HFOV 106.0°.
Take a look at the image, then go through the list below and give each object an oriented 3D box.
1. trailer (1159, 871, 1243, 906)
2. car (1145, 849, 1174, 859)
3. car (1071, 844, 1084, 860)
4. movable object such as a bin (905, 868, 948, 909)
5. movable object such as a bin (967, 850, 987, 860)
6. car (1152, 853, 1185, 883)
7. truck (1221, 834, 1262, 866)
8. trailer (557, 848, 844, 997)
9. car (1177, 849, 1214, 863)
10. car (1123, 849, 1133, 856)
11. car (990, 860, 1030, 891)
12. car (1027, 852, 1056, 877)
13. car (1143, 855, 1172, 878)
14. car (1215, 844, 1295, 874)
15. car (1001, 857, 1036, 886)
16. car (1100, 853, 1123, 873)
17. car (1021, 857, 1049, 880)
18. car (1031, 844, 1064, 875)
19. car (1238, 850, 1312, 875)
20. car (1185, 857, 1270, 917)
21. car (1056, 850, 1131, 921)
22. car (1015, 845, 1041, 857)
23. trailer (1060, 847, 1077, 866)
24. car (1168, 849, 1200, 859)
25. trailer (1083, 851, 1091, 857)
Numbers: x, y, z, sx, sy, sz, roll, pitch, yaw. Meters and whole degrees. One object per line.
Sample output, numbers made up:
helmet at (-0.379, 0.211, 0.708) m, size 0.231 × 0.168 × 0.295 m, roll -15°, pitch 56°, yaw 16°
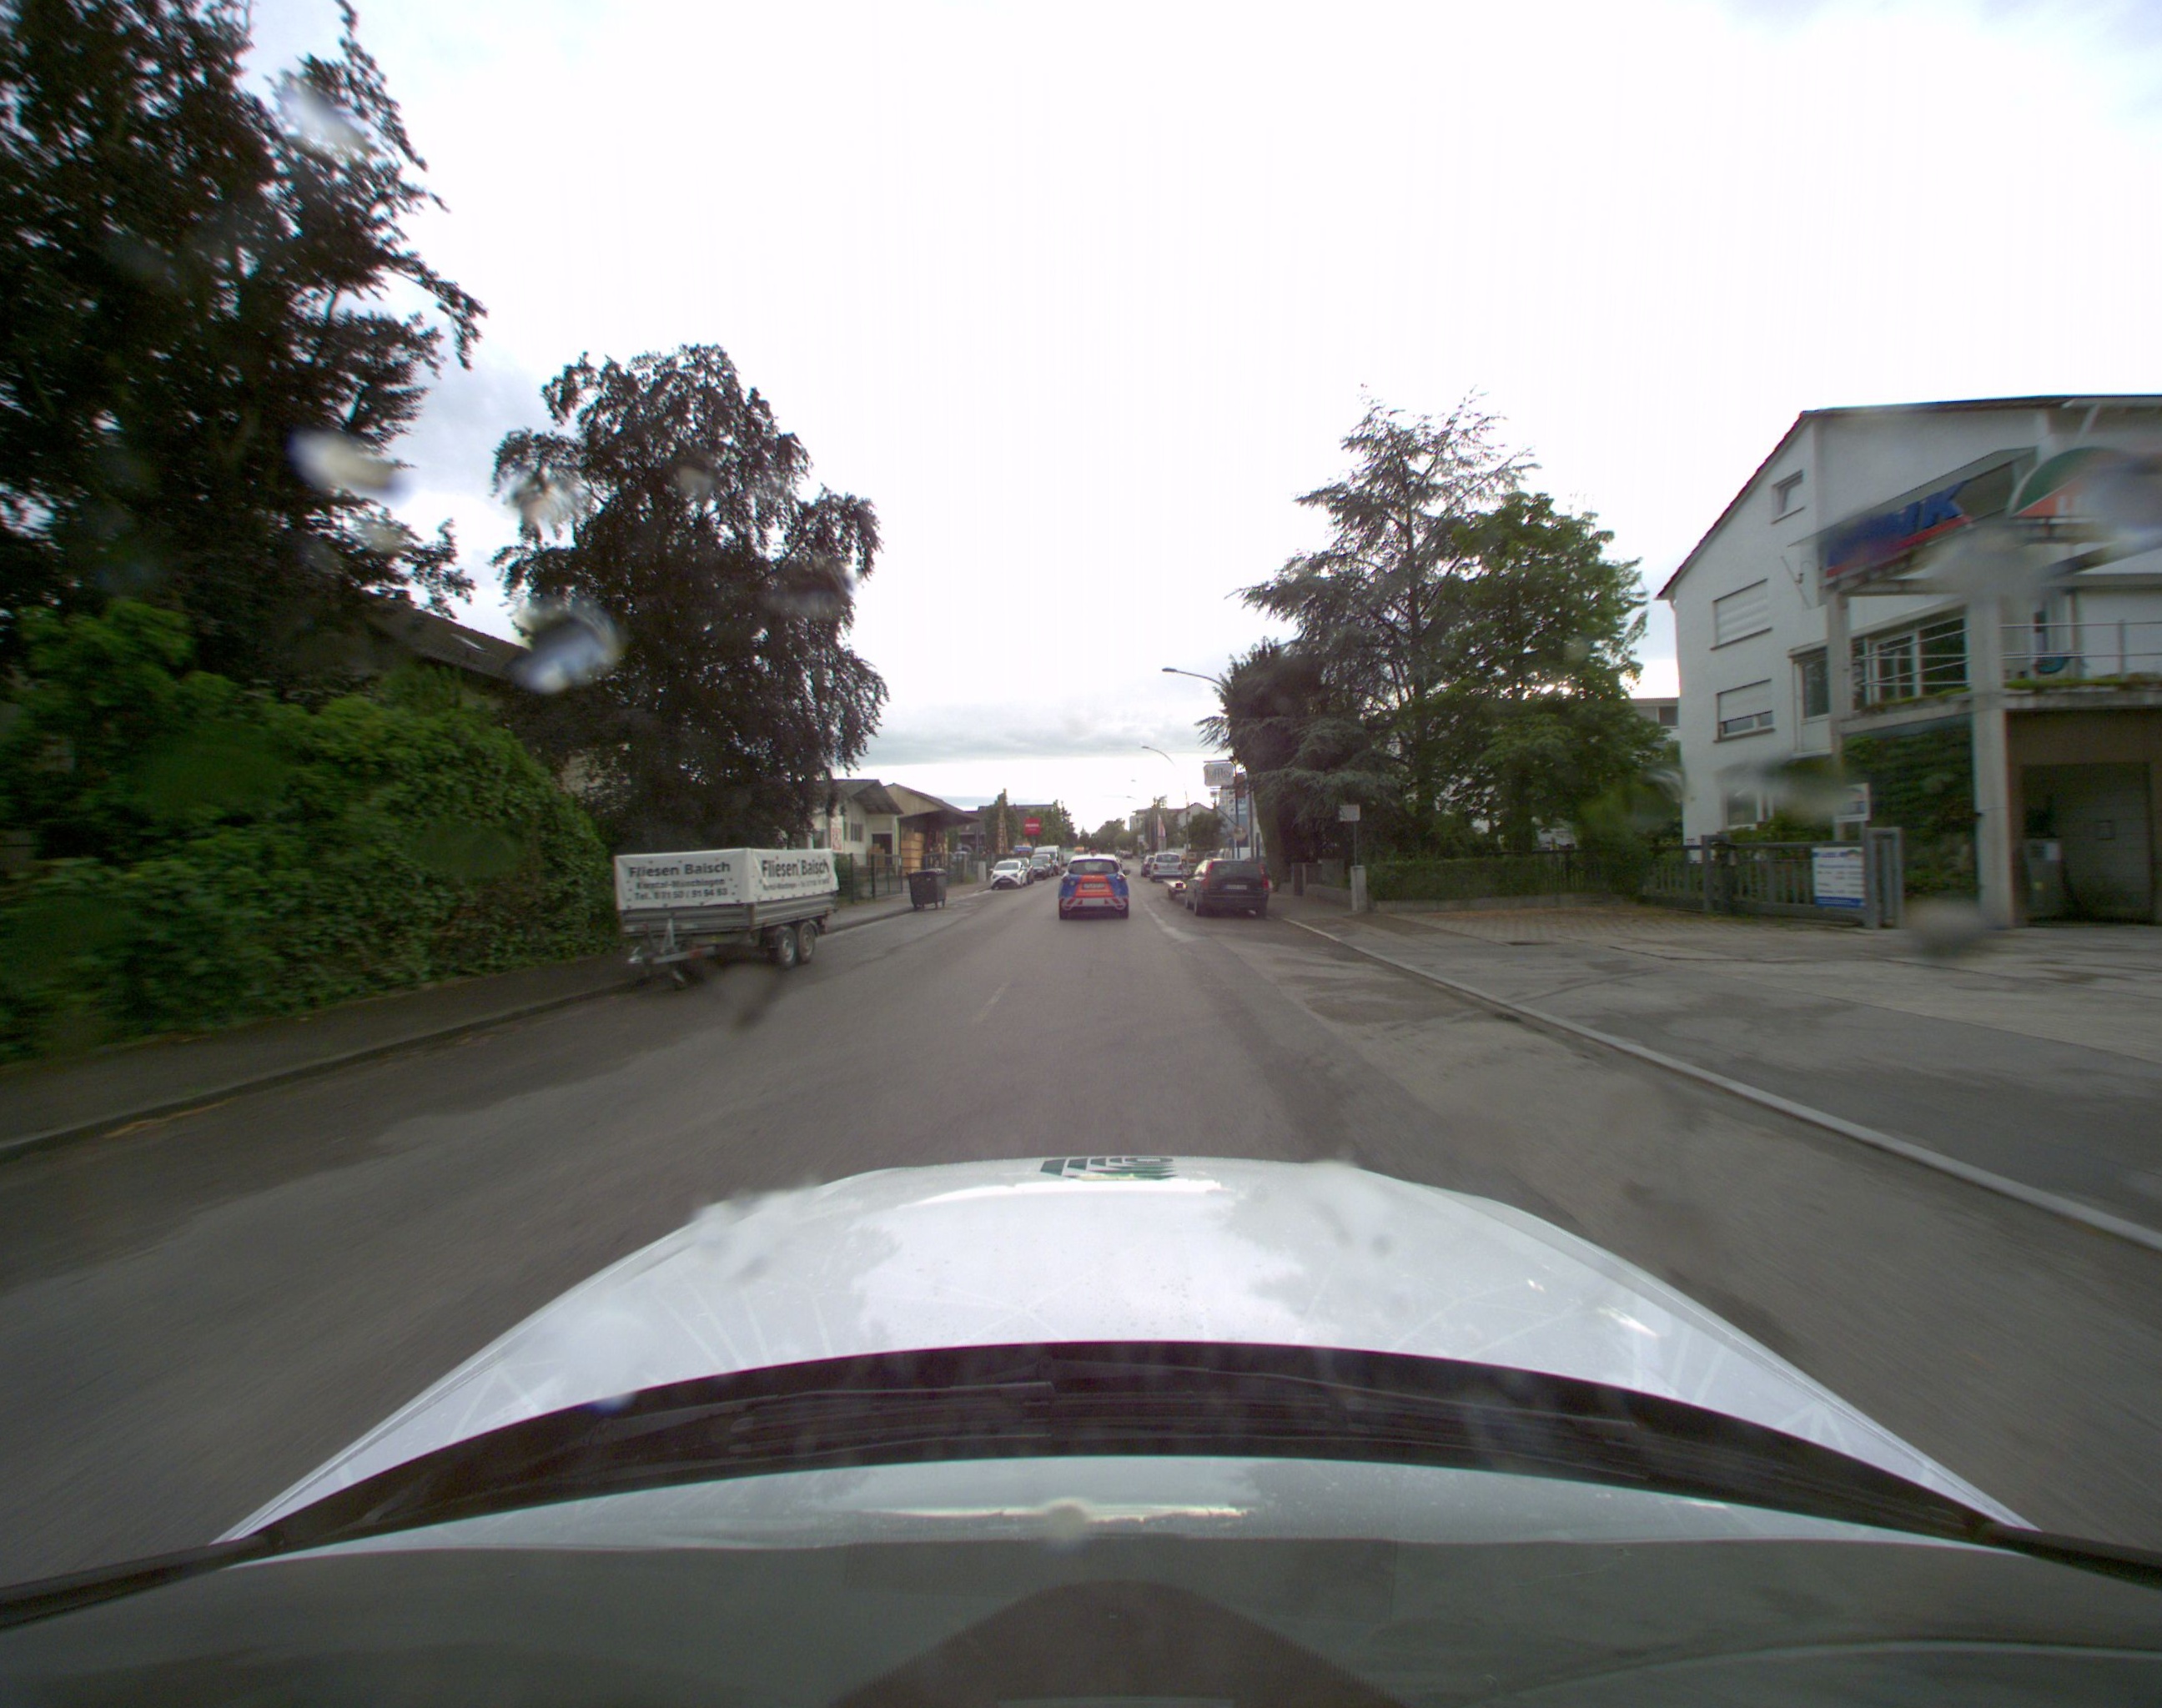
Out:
trailer at (3.987, 1.120, 28.185) m, size 2.165 × 0.897 × 6.639 m, roll 0°, pitch 0°, yaw 2°
car at (12.404, -0.032, 129.029) m, size 4.323 × 1.475 × 1.903 m, roll -1°, pitch 0°, yaw 1°
car at (-0.583, -0.302, 137.601) m, size 2.117 × 2.537 × 6.022 m, roll -2°, pitch 0°, yaw 1°
movable object such as a bin at (-5.124, 1.144, 27.124) m, size 1.096 × 1.310 × 1.425 m, roll 0°, pitch 0°, yaw 2°
movable object such as a bin at (-18.849, 0.214, 148.067) m, size 3.416 × 1.759 × 1.997 m, roll 0°, pitch 0°, yaw -5°
car at (4.938, 0.745, 46.323) m, size 1.731 × 1.621 × 4.377 m, roll 0°, pitch 0°, yaw 4°
truck at (18.961, -0.459, 96.321) m, size 4.131 × 3.673 × 2.719 m, roll 2°, pitch 0°, yaw -1°
trailer at (-5.226, 0.815, 12.031) m, size 1.922 × 1.765 × 4.551 m, roll -1°, pitch 0°, yaw 2°
car at (12.975, 0.208, 92.575) m, size 3.974 × 1.430 × 1.631 m, roll -1°, pitch 0°, yaw 0°
car at (9.185, -0.294, 159.302) m, size 1.584 × 1.341 × 4.093 m, roll -2°, pitch 0°, yaw 0°
car at (-3.786, 1.111, 43.751) m, size 1.610 × 1.509 × 3.662 m, roll -3°, pitch 0°, yaw 2°
car at (-3.088, 0.802, 64.257) m, size 1.762 × 1.768 × 4.449 m, roll -5°, pitch 0°, yaw 2°
car at (5.227, 0.835, 56.074) m, size 1.732 × 1.466 × 4.548 m, roll 0°, pitch 0°, yaw 2°
car at (11.009, 0.324, 51.701) m, size 4.714 × 1.886 × 2.001 m, roll 0°, pitch 0°, yaw 2°
car at (-3.685, 1.021, 48.662) m, size 1.655 × 1.584 × 3.917 m, roll -3°, pitch 0°, yaw 1°
car at (2.339, 0.674, 62.910) m, size 1.644 × 1.521 × 4.000 m, roll 0°, pitch 0°, yaw 0°
car at (-3.226, 0.995, 57.815) m, size 1.656 × 1.448 × 4.317 m, roll -3°, pitch 0°, yaw 0°
car at (-2.842, 0.455, 70.049) m, size 2.150 × 2.427 × 6.463 m, roll -4°, pitch 0°, yaw 2°
car at (11.662, 0.483, 49.175) m, size 4.088 × 1.457 × 2.001 m, roll 0°, pitch 0°, yaw 2°
car at (3.821, 0.804, 21.908) m, size 1.732 × 1.433 × 4.653 m, roll 0°, pitch 0°, yaw 4°
car at (0.329, 0.755, 20.942) m, size 1.725 × 1.630 × 3.495 m, roll -1°, pitch 0°, yaw 1°
car at (-9.051, -0.550, 138.696) m, size 4.289 × 2.014 × 2.064 m, roll 0°, pitch 0°, yaw 2°
trailer at (-1.611, 0.269, 107.354) m, size 1.806 × 2.314 × 4.732 m, roll -4°, pitch 0°, yaw 1°
car at (14.765, -0.012, 117.220) m, size 4.400 × 1.393 × 1.880 m, roll 0°, pitch 0°, yaw 0°
trailer at (1.357, 0.073, 186.546) m, size 1.712 × 1.260 × 5.244 m, roll 0°, pitch 2°, yaw 0°
